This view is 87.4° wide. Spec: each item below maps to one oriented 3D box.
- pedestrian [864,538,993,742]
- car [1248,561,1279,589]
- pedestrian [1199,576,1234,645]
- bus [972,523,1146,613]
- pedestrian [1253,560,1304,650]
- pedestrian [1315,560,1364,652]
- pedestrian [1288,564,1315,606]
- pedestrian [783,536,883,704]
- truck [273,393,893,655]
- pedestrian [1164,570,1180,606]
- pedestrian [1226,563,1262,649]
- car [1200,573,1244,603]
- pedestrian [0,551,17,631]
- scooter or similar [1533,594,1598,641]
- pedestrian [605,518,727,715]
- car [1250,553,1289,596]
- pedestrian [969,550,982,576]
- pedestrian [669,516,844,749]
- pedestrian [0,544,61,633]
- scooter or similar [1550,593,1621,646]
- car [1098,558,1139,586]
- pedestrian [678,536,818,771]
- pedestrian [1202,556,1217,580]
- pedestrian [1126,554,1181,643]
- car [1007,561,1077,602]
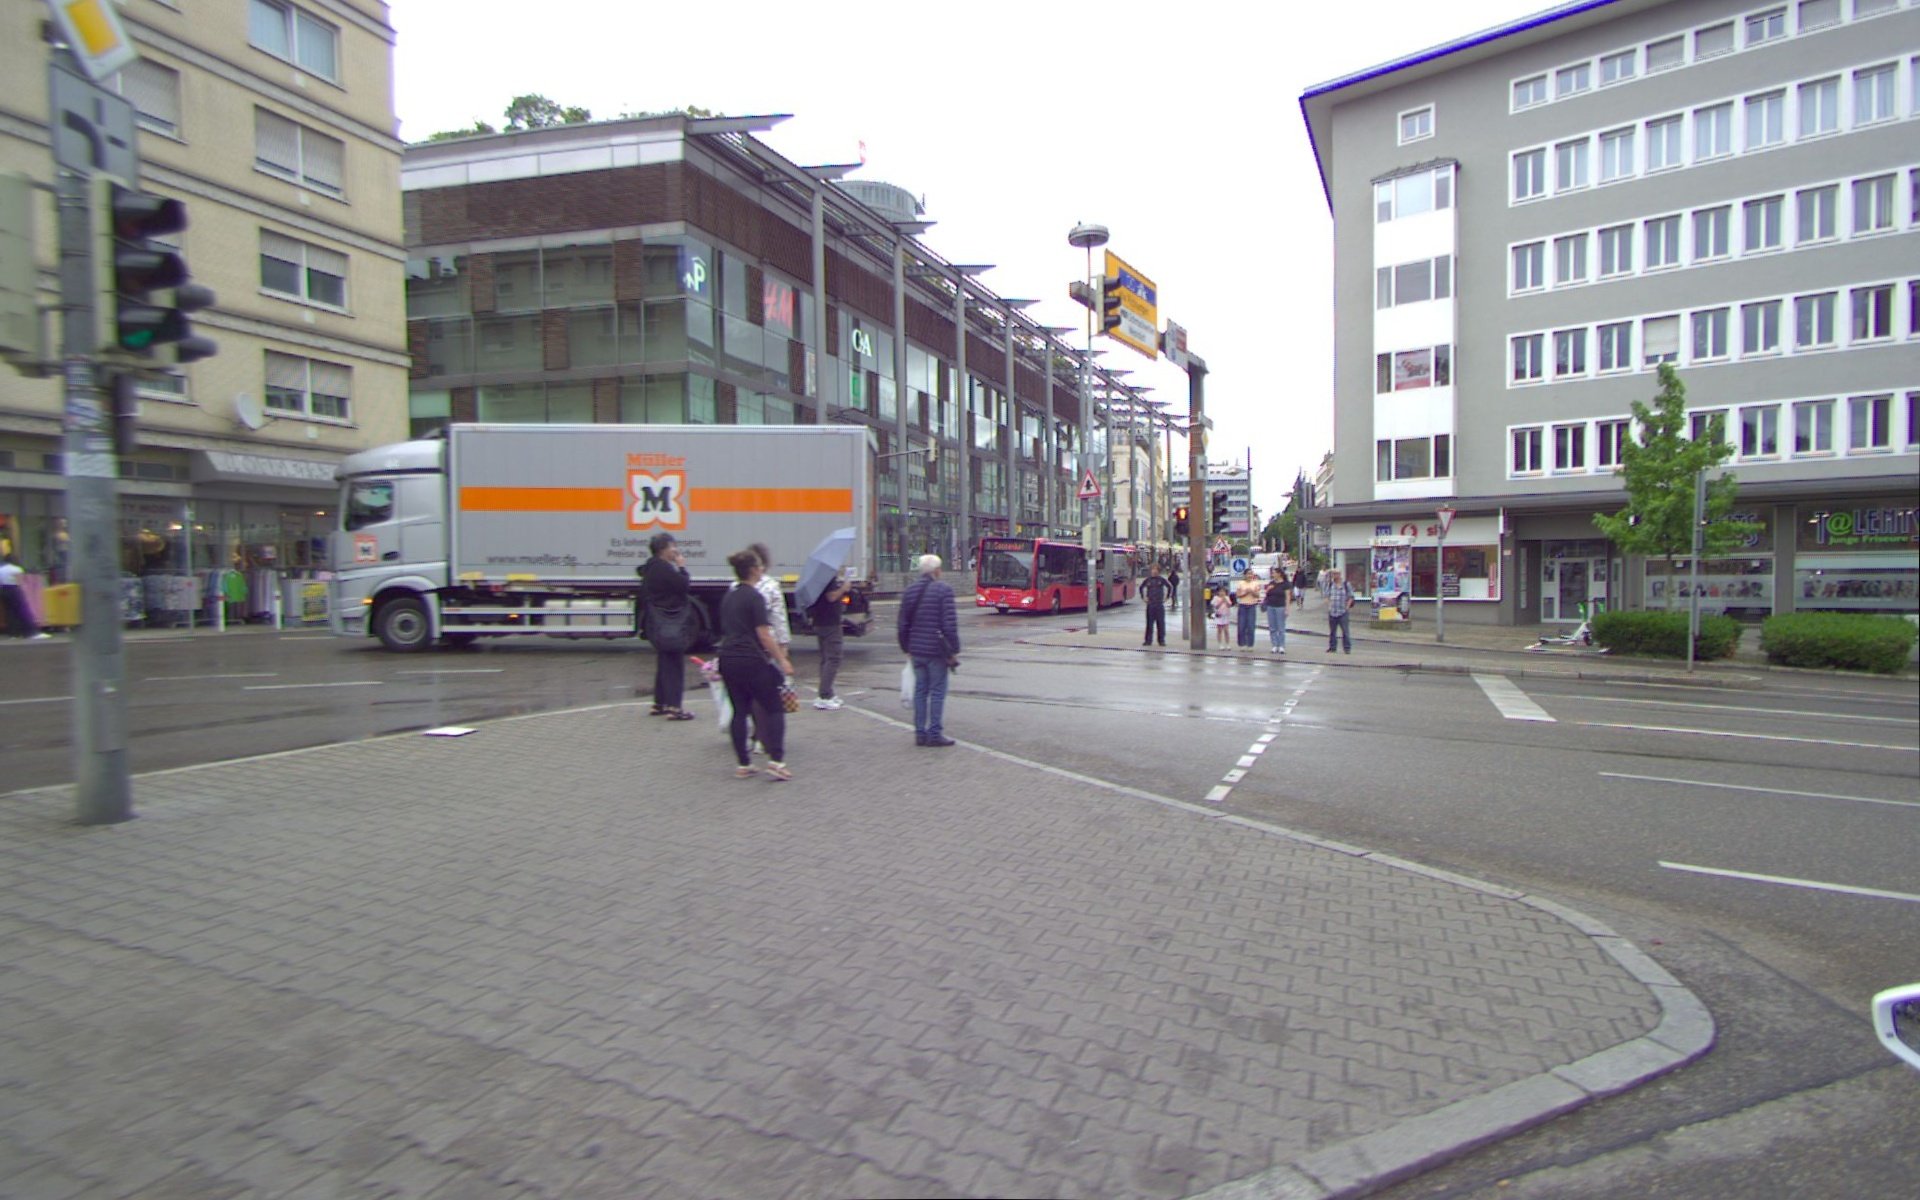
[{"bbox_3d":[-0.251,0.304,8.400,0.702,1.589,0.854,3,1,27],"label":"pedestrian"},{"bbox_3d":[20.804,-1.703,68.810,1.830,1.850,4.103,2,2,19],"label":"car"},{"bbox_3d":[5.173,0.195,20.273,0.619,1.357,0.588,2,2,16],"label":"pedestrian"},{"bbox_3d":[5.272,-1.316,46.498,2.873,3.365,18.469,2,1,22],"label":"bus"},{"bbox_3d":[6.263,0.077,19.732,0.770,1.712,0.637,3,2,31],"label":"pedestrian"},{"bbox_3d":[7.688,0.112,20.377,0.815,1.802,0.617,2,2,16],"label":"pedestrian"},{"bbox_3d":[14.982,-0.659,44.074,1.005,1.799,0.800,2,2,16],"label":"pedestrian"},{"bbox_3d":[-1.357,0.197,10.795,0.744,1.714,0.693,3,1,27],"label":"pedestrian"},{"bbox_3d":[-6.699,-1.357,18.919,10.557,4.392,2.855,1,2,1],"label":"truck"},{"bbox_3d":[11.111,-0.629,52.681,0.615,1.827,0.905,2,2,20],"label":"pedestrian"},{"bbox_3d":[5.666,0.107,20.006,0.560,1.691,0.501,2,2,29],"label":"pedestrian"},{"bbox_3d":[14.332,-0.669,54.888,1.709,1.548,3.997,2,2,23],"label":"car"},{"bbox_3d":[-18.870,-0.182,19.390,0.772,1.557,0.681,2,2,20],"label":"pedestrian"},{"bbox_3d":[15.708,0.440,26.067,1.364,1.203,0.541,1,1,42],"label":"scooter or similar"},{"bbox_3d":[-2.722,0.133,9.321,0.771,1.734,0.706,3,1,27],"label":"pedestrian"},{"bbox_3d":[23.136,-1.912,74.937,2.404,2.997,6.152,2,2,20],"label":"car"},{"bbox_3d":[1.042,-2.515,68.897,0.669,1.736,0.850,1,2,17],"label":"pedestrian"},{"bbox_3d":[-1.588,0.216,7.917,0.963,1.695,0.914,3,2,28],"label":"pedestrian"},{"bbox_3d":[-17.845,-0.225,19.145,0.833,1.650,0.771,1,2,-21],"label":"pedestrian"},{"bbox_3d":[16.941,0.499,27.223,1.480,1.274,0.925,3,7,42],"label":"scooter or similar"},{"bbox_3d":[12.327,-2.137,77.744,2.204,2.062,5.357,2,2,19],"label":"car"},{"bbox_3d":[-1.450,0.339,6.896,0.694,1.508,0.560,3,1,27],"label":"pedestrian"},{"bbox_3d":[20.545,-2.618,82.819,0.940,1.912,0.809,3,2,29],"label":"pedestrian"},{"bbox_3d":[4.077,-0.048,21.141,0.993,1.811,0.853,2,2,16],"label":"pedestrian"},{"bbox_3d":[4.740,-1.064,57.142,2.404,2.103,5.906,2,2,21],"label":"car"}]
